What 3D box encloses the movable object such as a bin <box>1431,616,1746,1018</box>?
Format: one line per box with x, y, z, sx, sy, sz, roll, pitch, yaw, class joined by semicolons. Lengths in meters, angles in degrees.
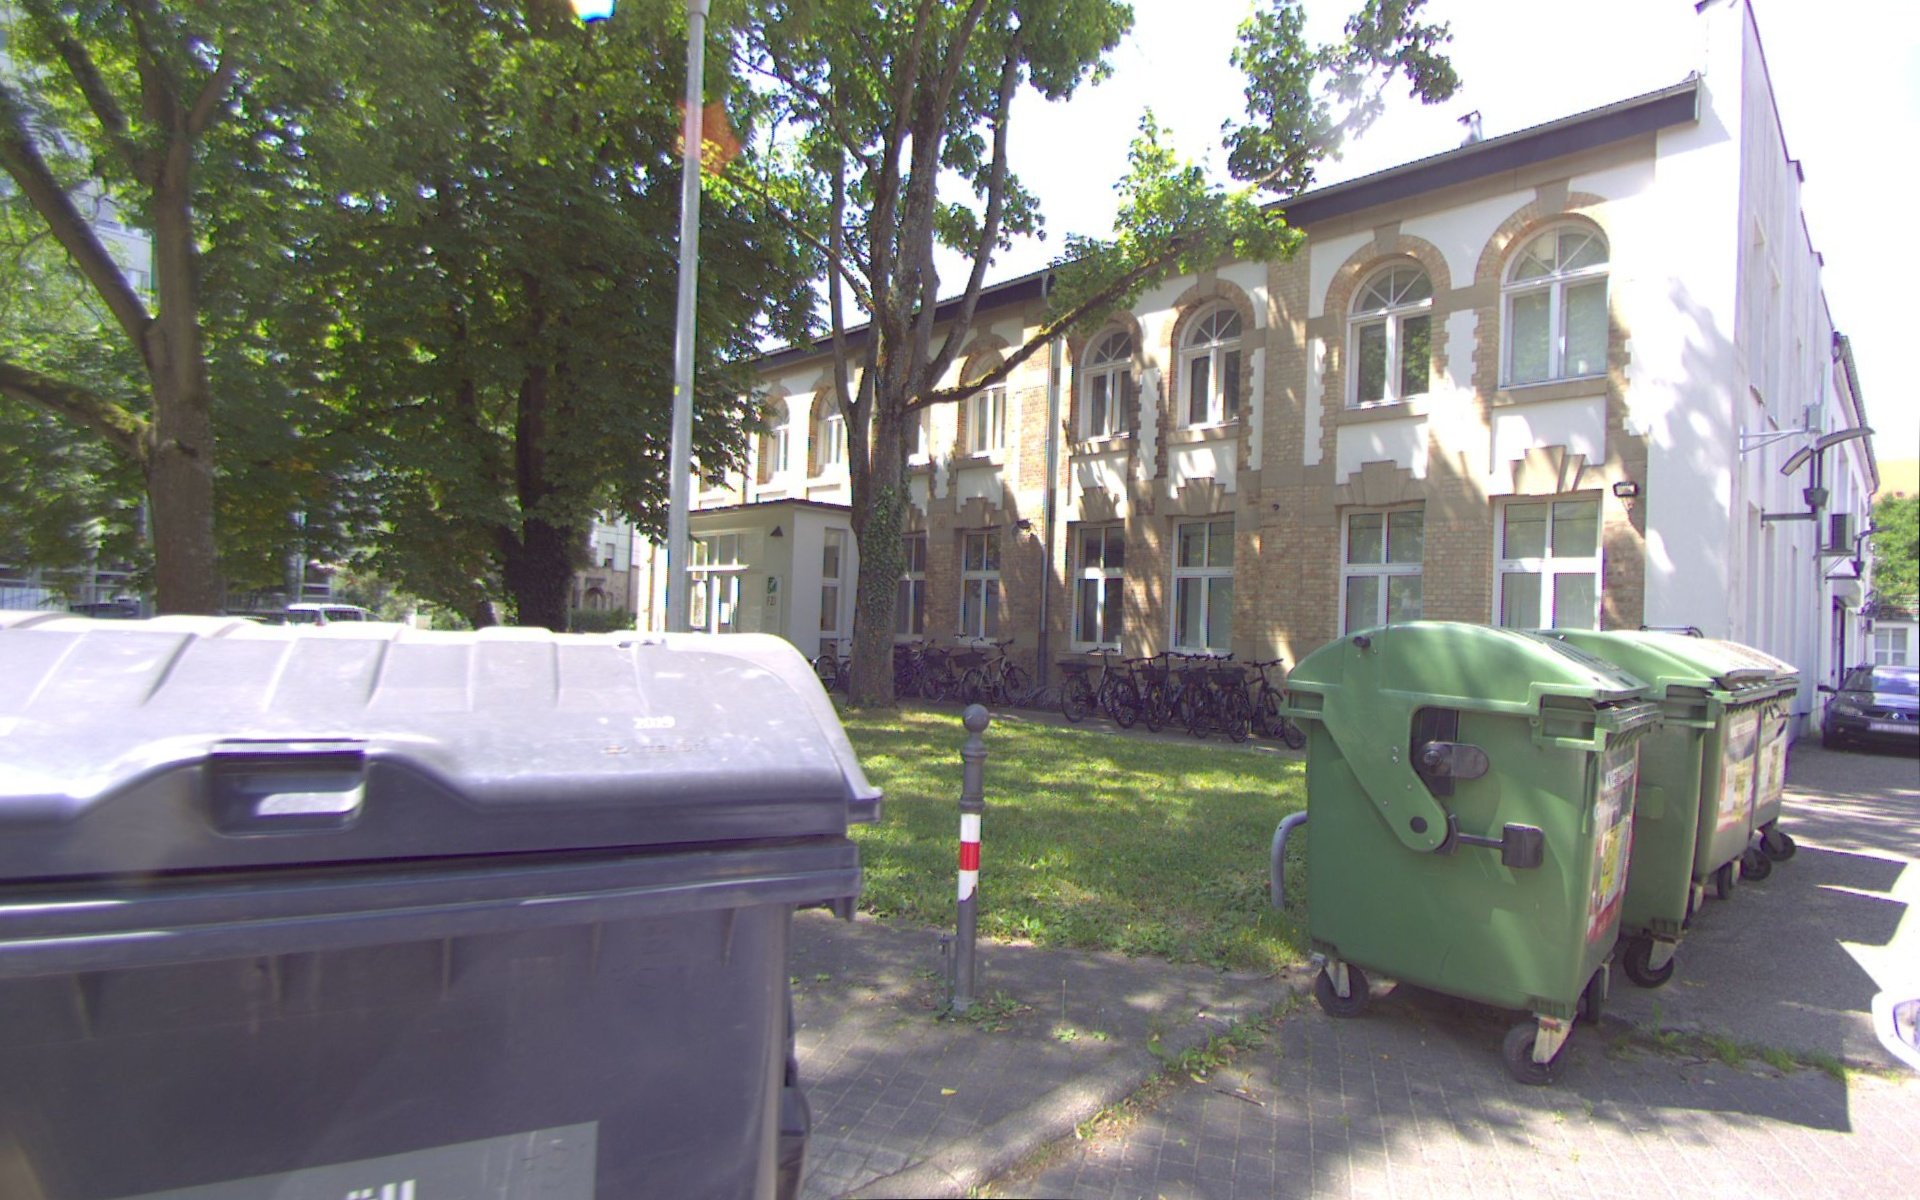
2.897;0.854;4.675;1.078;1.499;1.356;1;-2;34;movable object such as a bin

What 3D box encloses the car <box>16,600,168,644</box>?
-32.746;0.844;38.038;3.937;1.505;1.664;2;-2;-18;car

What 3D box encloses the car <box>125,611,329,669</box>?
-19.826;1.078;27.400;1.847;1.437;4.152;1;-2;18;car

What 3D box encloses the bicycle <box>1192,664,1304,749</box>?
4.014;1.423;13.881;0.598;1.024;2.249;1;-2;40;bicycle

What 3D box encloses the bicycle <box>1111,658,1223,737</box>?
3.082;1.395;14.800;0.598;1.024;2.249;1;-2;40;bicycle

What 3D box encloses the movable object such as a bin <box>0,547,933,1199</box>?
-0.785;0.683;1.419;1.144;1.412;1.110;2;-2;-23;movable object such as a bin

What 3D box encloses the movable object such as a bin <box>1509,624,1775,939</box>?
3.859;0.909;5.664;1.033;1.499;1.254;0;-2;45;movable object such as a bin

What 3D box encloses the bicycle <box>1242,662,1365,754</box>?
4.637;1.395;13.457;2.245;1.096;0.599;3;-2;-44;bicycle

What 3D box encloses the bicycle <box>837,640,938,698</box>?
-1.341;1.290;19.125;0.561;1.024;2.252;1;-2;36;bicycle

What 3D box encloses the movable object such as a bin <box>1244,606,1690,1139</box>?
1.919;0.802;3.750;1.190;1.499;1.318;0;-2;41;movable object such as a bin

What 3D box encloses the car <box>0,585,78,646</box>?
-33.825;0.481;34.675;4.563;2.040;1.990;3;-2;-22;car

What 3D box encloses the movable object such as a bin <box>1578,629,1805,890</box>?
4.905;0.967;6.714;1.033;1.499;1.401;0;-2;44;movable object such as a bin

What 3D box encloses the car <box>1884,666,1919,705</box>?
37.726;3.355;39.704;1.779;1.408;3.978;0;-2;43;car

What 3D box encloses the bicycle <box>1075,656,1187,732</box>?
2.642;1.388;15.272;0.598;1.024;2.249;1;-2;40;bicycle

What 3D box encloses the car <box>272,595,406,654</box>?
-21.939;0.889;35.682;1.488;1.879;4.003;5;-1;15;car

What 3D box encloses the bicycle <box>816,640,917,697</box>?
-1.786;1.314;19.583;0.622;1.025;2.252;1;-1;36;bicycle

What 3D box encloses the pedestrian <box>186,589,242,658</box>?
-17.666;0.546;23.797;0.683;1.588;0.744;2;-1;14;pedestrian

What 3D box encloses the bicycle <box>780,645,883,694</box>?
-2.520;1.350;19.952;0.645;0.902;2.252;1;-1;36;bicycle

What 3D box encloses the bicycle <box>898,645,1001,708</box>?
-0.156;1.338;18.030;0.597;1.024;2.252;1;-1;36;bicycle

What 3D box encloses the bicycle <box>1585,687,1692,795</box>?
7.221;1.453;10.660;1.718;0.971;0.606;3;-2;-44;bicycle

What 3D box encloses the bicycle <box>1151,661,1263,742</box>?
3.568;1.412;14.356;0.598;1.024;2.249;1;-2;40;bicycle

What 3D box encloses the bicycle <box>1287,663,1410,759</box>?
5.056;1.391;12.979;2.245;1.096;0.599;3;-2;-44;bicycle

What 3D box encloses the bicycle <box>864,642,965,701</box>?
-0.810;1.308;18.747;0.597;1.024;2.252;1;-1;36;bicycle

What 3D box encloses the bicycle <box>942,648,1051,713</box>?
0.673;1.352;17.334;0.598;1.024;2.249;1;-2;40;bicycle

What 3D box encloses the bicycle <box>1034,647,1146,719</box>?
2.072;1.263;15.758;0.598;1.024;2.249;1;-2;40;bicycle

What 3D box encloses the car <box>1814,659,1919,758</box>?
15.877;1.767;17.080;1.737;1.448;4.359;1;-2;45;car
